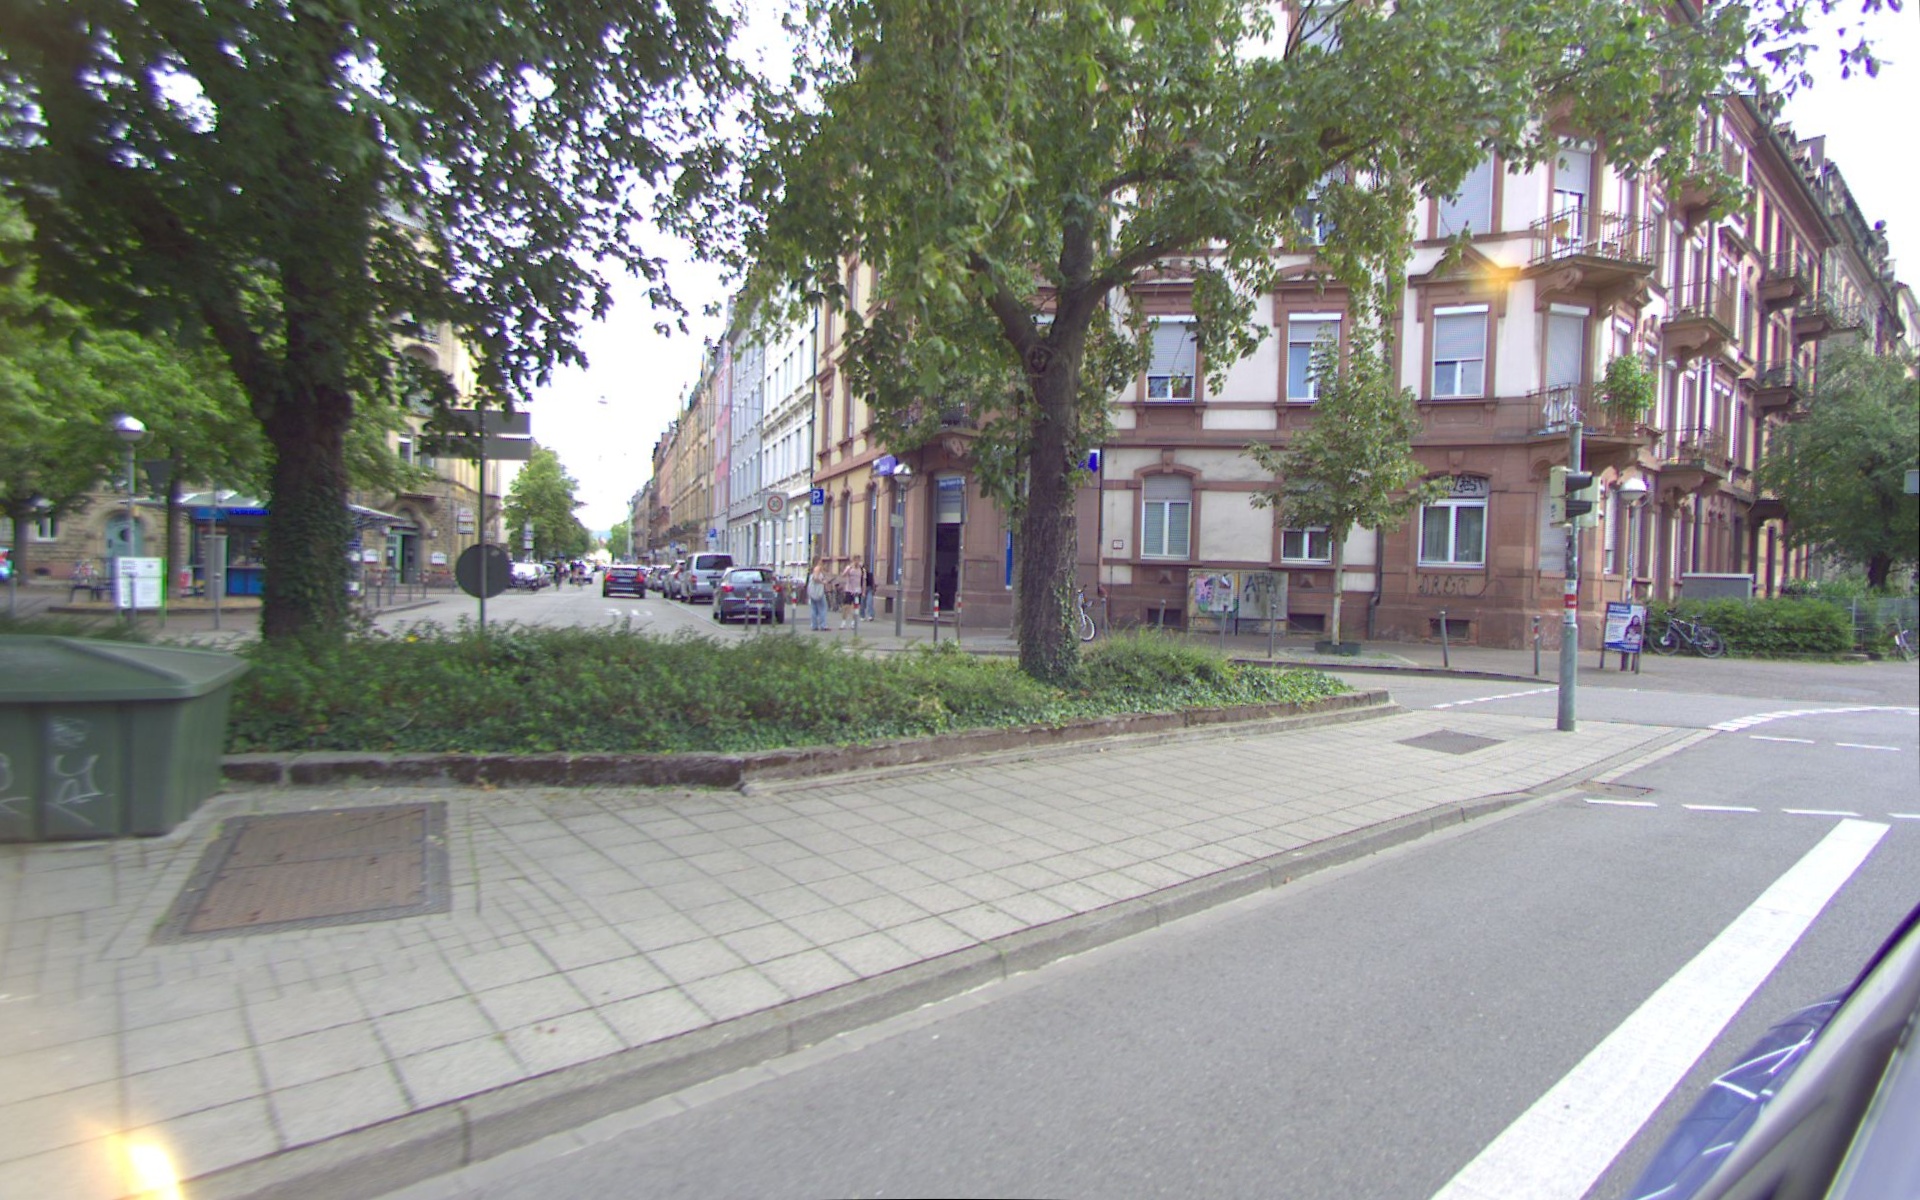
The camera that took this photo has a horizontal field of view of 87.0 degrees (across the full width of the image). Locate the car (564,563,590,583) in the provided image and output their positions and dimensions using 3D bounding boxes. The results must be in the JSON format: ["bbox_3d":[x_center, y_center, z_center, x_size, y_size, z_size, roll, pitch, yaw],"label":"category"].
[{"bbox_3d":[-31.354,-2.195,82.913,1.780,1.542,4.010,1,2,-18],"label":"car"}]

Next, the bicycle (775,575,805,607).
[{"bbox_3d":[-6.527,-0.363,38.753,0.659,1.135,1.944,2,2,-22],"label":"bicycle"}]

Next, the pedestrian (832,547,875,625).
[{"bbox_3d":[-2.464,-0.336,23.349,0.741,1.750,0.896,2,2,-17],"label":"pedestrian"}]

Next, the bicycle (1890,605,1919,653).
[{"bbox_3d":[23.485,0.713,24.907,1.643,1.120,0.672,1,2,-41],"label":"bicycle"}]

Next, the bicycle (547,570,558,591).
[{"bbox_3d":[-23.704,-1.128,58.839,0.499,1.101,1.555,3,4,-21],"label":"bicycle"}]

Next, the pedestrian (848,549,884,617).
[{"bbox_3d":[-2.502,-0.464,26.852,0.717,1.750,0.896,2,2,-17],"label":"pedestrian"}]

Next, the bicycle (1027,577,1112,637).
[{"bbox_3d":[2.290,0.138,21.320,1.665,1.158,0.663,3,2,41],"label":"bicycle"}]

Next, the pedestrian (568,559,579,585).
[{"bbox_3d":[-22.850,-1.660,59.796,0.503,1.483,0.575,2,1,-25],"label":"pedestrian"}]

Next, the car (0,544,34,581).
[{"bbox_3d":[-38.236,-1.490,38.806,3.627,1.412,1.777,1,1,-20],"label":"car"}]

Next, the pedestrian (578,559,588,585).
[{"bbox_3d":[-22.410,-1.659,60.129,0.493,1.483,0.567,2,1,-25],"label":"pedestrian"}]

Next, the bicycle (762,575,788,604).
[{"bbox_3d":[-7.784,-0.447,42.510,0.659,1.135,1.944,2,2,-22],"label":"bicycle"}]

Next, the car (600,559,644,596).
[{"bbox_3d":[-15.134,-1.025,45.375,1.780,1.542,4.010,1,2,-18],"label":"car"}]

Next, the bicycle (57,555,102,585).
[{"bbox_3d":[-34.956,-1.193,40.201,0.595,1.130,1.903,2,2,-17],"label":"bicycle"}]

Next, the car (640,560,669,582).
[{"bbox_3d":[-23.216,-2.208,76.890,1.958,1.538,4.010,2,2,-18],"label":"car"}]

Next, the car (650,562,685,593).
[{"bbox_3d":[-17.719,-1.369,61.188,1.780,1.771,4.010,1,2,-20],"label":"car"}]

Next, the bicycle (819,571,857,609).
[{"bbox_3d":[-3.897,-0.324,32.243,0.659,1.135,1.944,2,2,-22],"label":"bicycle"}]

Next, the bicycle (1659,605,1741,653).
[{"bbox_3d":[16.479,0.642,22.546,1.518,0.981,0.511,2,1,-8],"label":"bicycle"}]

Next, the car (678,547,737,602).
[{"bbox_3d":[-10.007,-1.036,39.947,1.829,2.005,4.010,1,2,-20],"label":"car"}]

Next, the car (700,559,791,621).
[{"bbox_3d":[-5.720,-0.310,26.655,1.780,1.459,4.010,1,2,-20],"label":"car"}]

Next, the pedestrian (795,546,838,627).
[{"bbox_3d":[-3.223,-0.321,22.765,0.875,1.750,0.734,3,2,-8],"label":"pedestrian"}]

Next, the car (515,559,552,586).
[{"bbox_3d":[-25.469,-1.655,60.523,1.958,1.538,4.009,1,1,-22],"label":"car"}]

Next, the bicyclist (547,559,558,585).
[{"bbox_3d":[-23.728,-1.622,58.926,0.503,1.482,0.575,3,4,-21],"label":"bicyclist"}]

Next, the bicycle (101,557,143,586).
[{"bbox_3d":[-33.816,-1.151,40.875,0.595,1.130,1.903,2,2,-17],"label":"bicycle"}]

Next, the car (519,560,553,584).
[{"bbox_3d":[-27.746,-1.829,66.269,1.958,1.538,4.009,1,1,-22],"label":"car"}]

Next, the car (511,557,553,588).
[{"bbox_3d":[-22.815,-1.457,54.032,1.958,1.538,4.009,1,1,-22],"label":"car"}]

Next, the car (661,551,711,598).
[{"bbox_3d":[-12.366,-1.162,45.545,1.780,1.967,4.165,1,2,-20],"label":"car"}]
